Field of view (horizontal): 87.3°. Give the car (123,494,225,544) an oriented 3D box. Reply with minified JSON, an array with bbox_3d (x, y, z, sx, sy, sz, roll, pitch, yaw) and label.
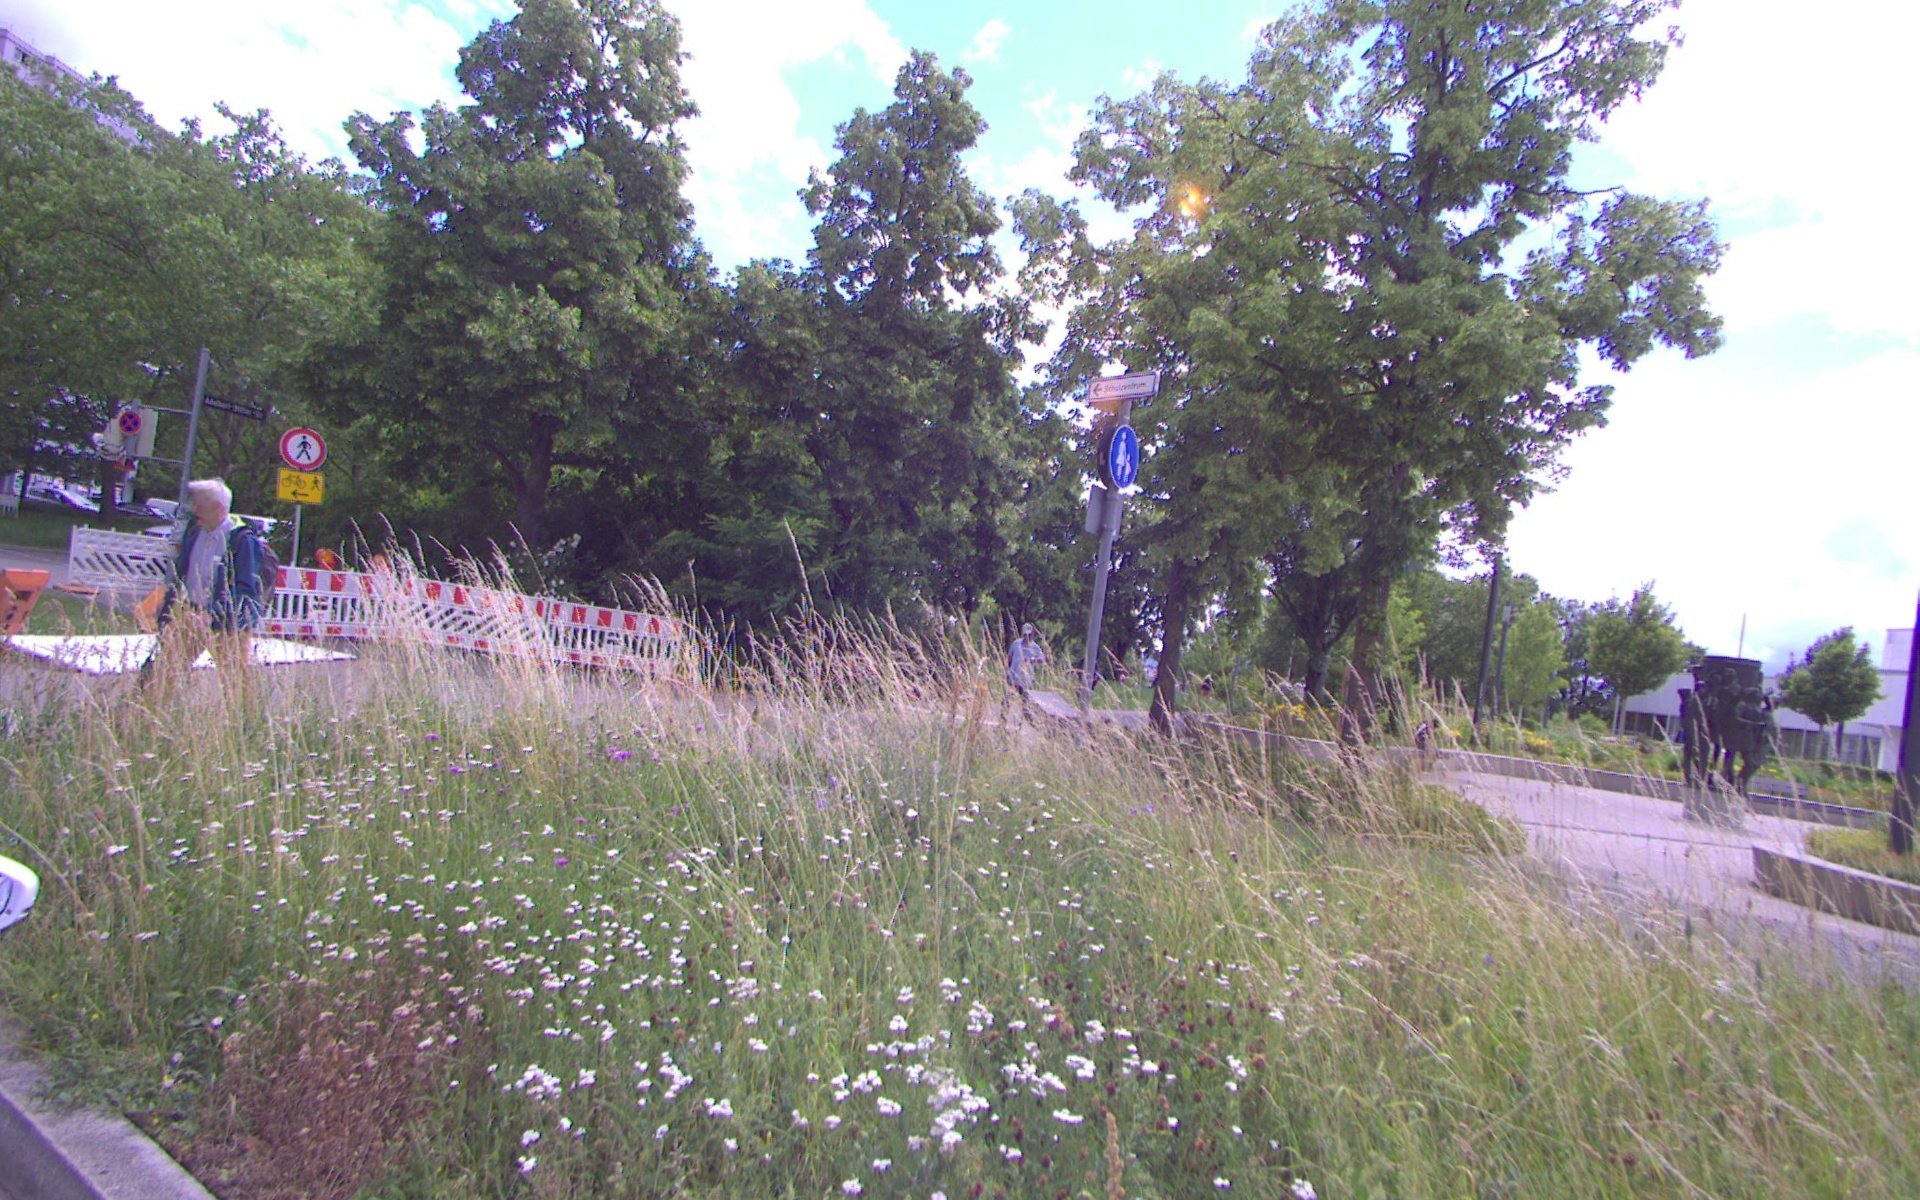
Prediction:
[{"bbox_3d":[-44.245,-4.531,56.693,3.926,2.037,2.001,8,-1,0],"label":"car"}]

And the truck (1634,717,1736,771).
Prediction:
[{"bbox_3d":[37.316,7.392,51.934,1.965,2.037,3.999,8,-1,-4],"label":"truck"}]

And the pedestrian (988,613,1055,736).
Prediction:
[{"bbox_3d":[1.017,1.205,16.377,0.757,1.862,0.765,7,-1,13],"label":"pedestrian"}]

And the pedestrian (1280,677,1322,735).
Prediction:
[{"bbox_3d":[13.132,4.061,38.708,1.137,2.037,0.817,8,0,30],"label":"pedestrian"}]

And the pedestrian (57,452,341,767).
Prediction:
[{"bbox_3d":[-4.911,0.073,6.598,0.933,1.795,1.011,8,-1,-9],"label":"pedestrian"}]

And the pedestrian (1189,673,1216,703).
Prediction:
[{"bbox_3d":[13.854,5.013,57.423,1.135,1.571,0.818,8,-1,-2],"label":"pedestrian"}]

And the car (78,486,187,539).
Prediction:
[{"bbox_3d":[-43.790,-4.604,53.289,3.926,2.037,2.001,8,-1,0],"label":"car"}]

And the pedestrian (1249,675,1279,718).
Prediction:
[{"bbox_3d":[13.098,4.148,43.290,0.872,1.681,0.817,8,-1,30],"label":"pedestrian"}]

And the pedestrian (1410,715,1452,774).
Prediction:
[{"bbox_3d":[10.827,3.314,23.122,0.623,1.236,0.618,7,-1,36],"label":"pedestrian"}]

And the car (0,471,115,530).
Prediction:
[{"bbox_3d":[-43.696,-4.780,48.573,3.926,2.037,2.001,8,-1,0],"label":"car"}]

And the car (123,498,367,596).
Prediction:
[{"bbox_3d":[-19.716,-1.387,28.057,1.915,1.895,5.090,7,-2,28],"label":"car"}]

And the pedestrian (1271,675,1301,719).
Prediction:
[{"bbox_3d":[13.847,4.116,42.737,0.879,1.732,0.817,8,-1,30],"label":"pedestrian"}]

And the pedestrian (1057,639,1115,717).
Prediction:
[{"bbox_3d":[2.910,1.804,23.160,0.879,1.647,0.817,8,-1,30],"label":"pedestrian"}]
